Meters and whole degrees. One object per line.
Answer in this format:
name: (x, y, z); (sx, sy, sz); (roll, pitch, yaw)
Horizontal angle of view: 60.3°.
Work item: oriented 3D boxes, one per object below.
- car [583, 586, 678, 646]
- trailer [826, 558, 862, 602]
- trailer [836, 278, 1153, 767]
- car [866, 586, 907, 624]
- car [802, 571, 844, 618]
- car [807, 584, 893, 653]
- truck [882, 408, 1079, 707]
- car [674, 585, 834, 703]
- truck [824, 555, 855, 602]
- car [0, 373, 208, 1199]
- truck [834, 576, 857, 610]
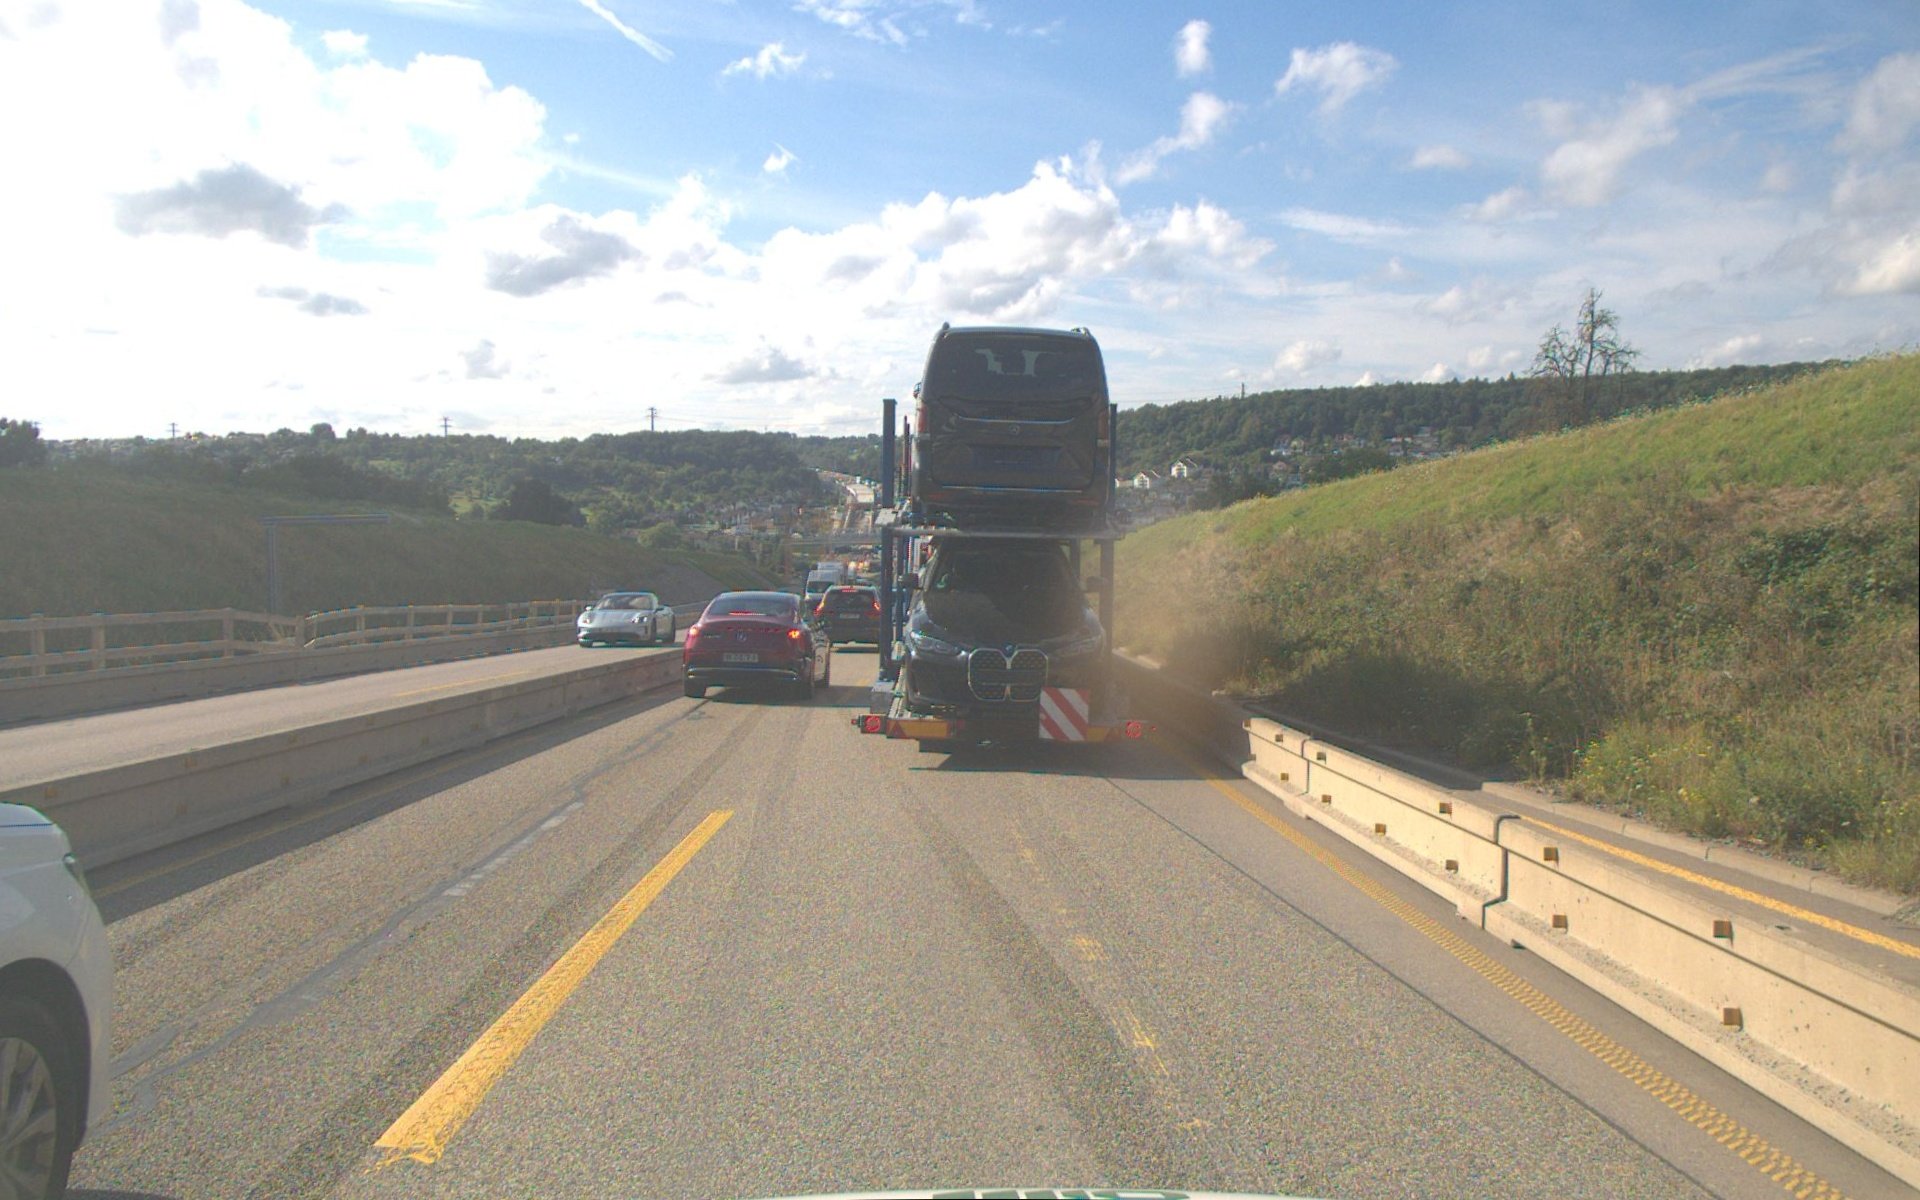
car: (-8.781, 0.409, 44.449); (1.699, 1.450, 4.626); (-3, 0, -2)
trailer: (-10.990, -1.909, 158.109); (2.561, 4.023, 13.872); (0, 0, -1)
trailer: (0.281, -0.688, 19.572); (2.653, 4.099, 11.419); (0, 0, 0)
car: (-3.243, 0.184, 73.601); (1.760, 1.624, 4.741); (0, 0, -2)
car: (-8.885, -0.350, 107.753); (2.067, 2.885, 6.138); (-3, 0, 0)
car: (-2.774, 0.425, 42.772); (1.953, 1.653, 4.749); (1, 1, -1)
truck: (0.319, -0.584, 25.069); (2.623, 3.990, 6.028); (0, 0, 1)
car: (-2.925, 0.568, 24.418); (1.786, 1.518, 4.684); (1, 1, 0)
truck: (-10.951, -1.927, 150.965); (2.561, 4.226, 5.780); (0, 0, -1)
car: (-2.705, 0.502, 1.713); (1.786, 1.855, 4.456); (1, 1, 0)
truck: (-14.529, -0.933, 210.352); (2.585, 4.171, 10.814); (0, 0, -2)
